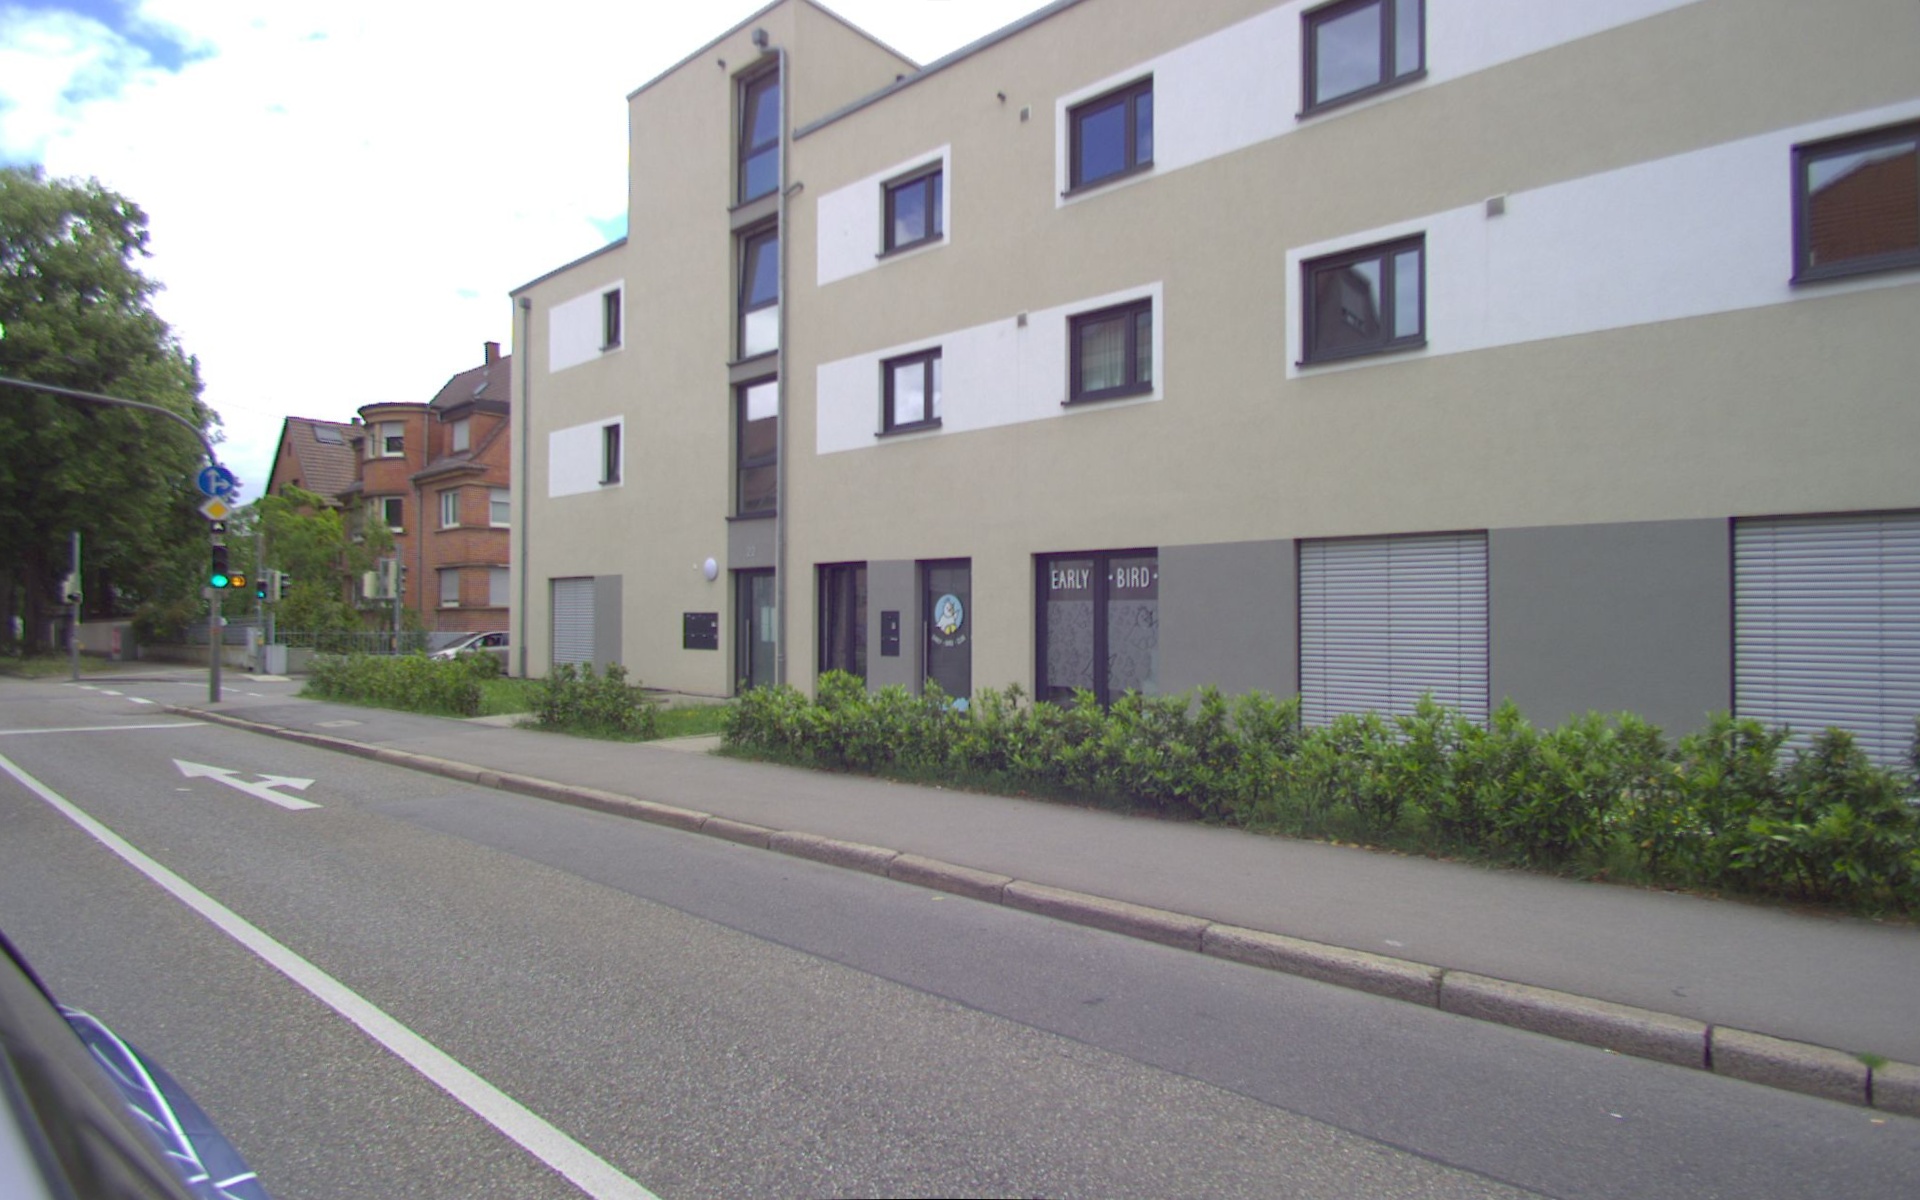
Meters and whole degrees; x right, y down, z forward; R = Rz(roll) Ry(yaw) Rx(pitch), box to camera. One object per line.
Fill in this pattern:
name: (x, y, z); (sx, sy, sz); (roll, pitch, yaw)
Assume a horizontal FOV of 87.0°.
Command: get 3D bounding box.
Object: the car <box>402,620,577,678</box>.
car: (-15.245, 1.546, 33.026); (2.171, 1.697, 4.756); (-2, -1, 36)
